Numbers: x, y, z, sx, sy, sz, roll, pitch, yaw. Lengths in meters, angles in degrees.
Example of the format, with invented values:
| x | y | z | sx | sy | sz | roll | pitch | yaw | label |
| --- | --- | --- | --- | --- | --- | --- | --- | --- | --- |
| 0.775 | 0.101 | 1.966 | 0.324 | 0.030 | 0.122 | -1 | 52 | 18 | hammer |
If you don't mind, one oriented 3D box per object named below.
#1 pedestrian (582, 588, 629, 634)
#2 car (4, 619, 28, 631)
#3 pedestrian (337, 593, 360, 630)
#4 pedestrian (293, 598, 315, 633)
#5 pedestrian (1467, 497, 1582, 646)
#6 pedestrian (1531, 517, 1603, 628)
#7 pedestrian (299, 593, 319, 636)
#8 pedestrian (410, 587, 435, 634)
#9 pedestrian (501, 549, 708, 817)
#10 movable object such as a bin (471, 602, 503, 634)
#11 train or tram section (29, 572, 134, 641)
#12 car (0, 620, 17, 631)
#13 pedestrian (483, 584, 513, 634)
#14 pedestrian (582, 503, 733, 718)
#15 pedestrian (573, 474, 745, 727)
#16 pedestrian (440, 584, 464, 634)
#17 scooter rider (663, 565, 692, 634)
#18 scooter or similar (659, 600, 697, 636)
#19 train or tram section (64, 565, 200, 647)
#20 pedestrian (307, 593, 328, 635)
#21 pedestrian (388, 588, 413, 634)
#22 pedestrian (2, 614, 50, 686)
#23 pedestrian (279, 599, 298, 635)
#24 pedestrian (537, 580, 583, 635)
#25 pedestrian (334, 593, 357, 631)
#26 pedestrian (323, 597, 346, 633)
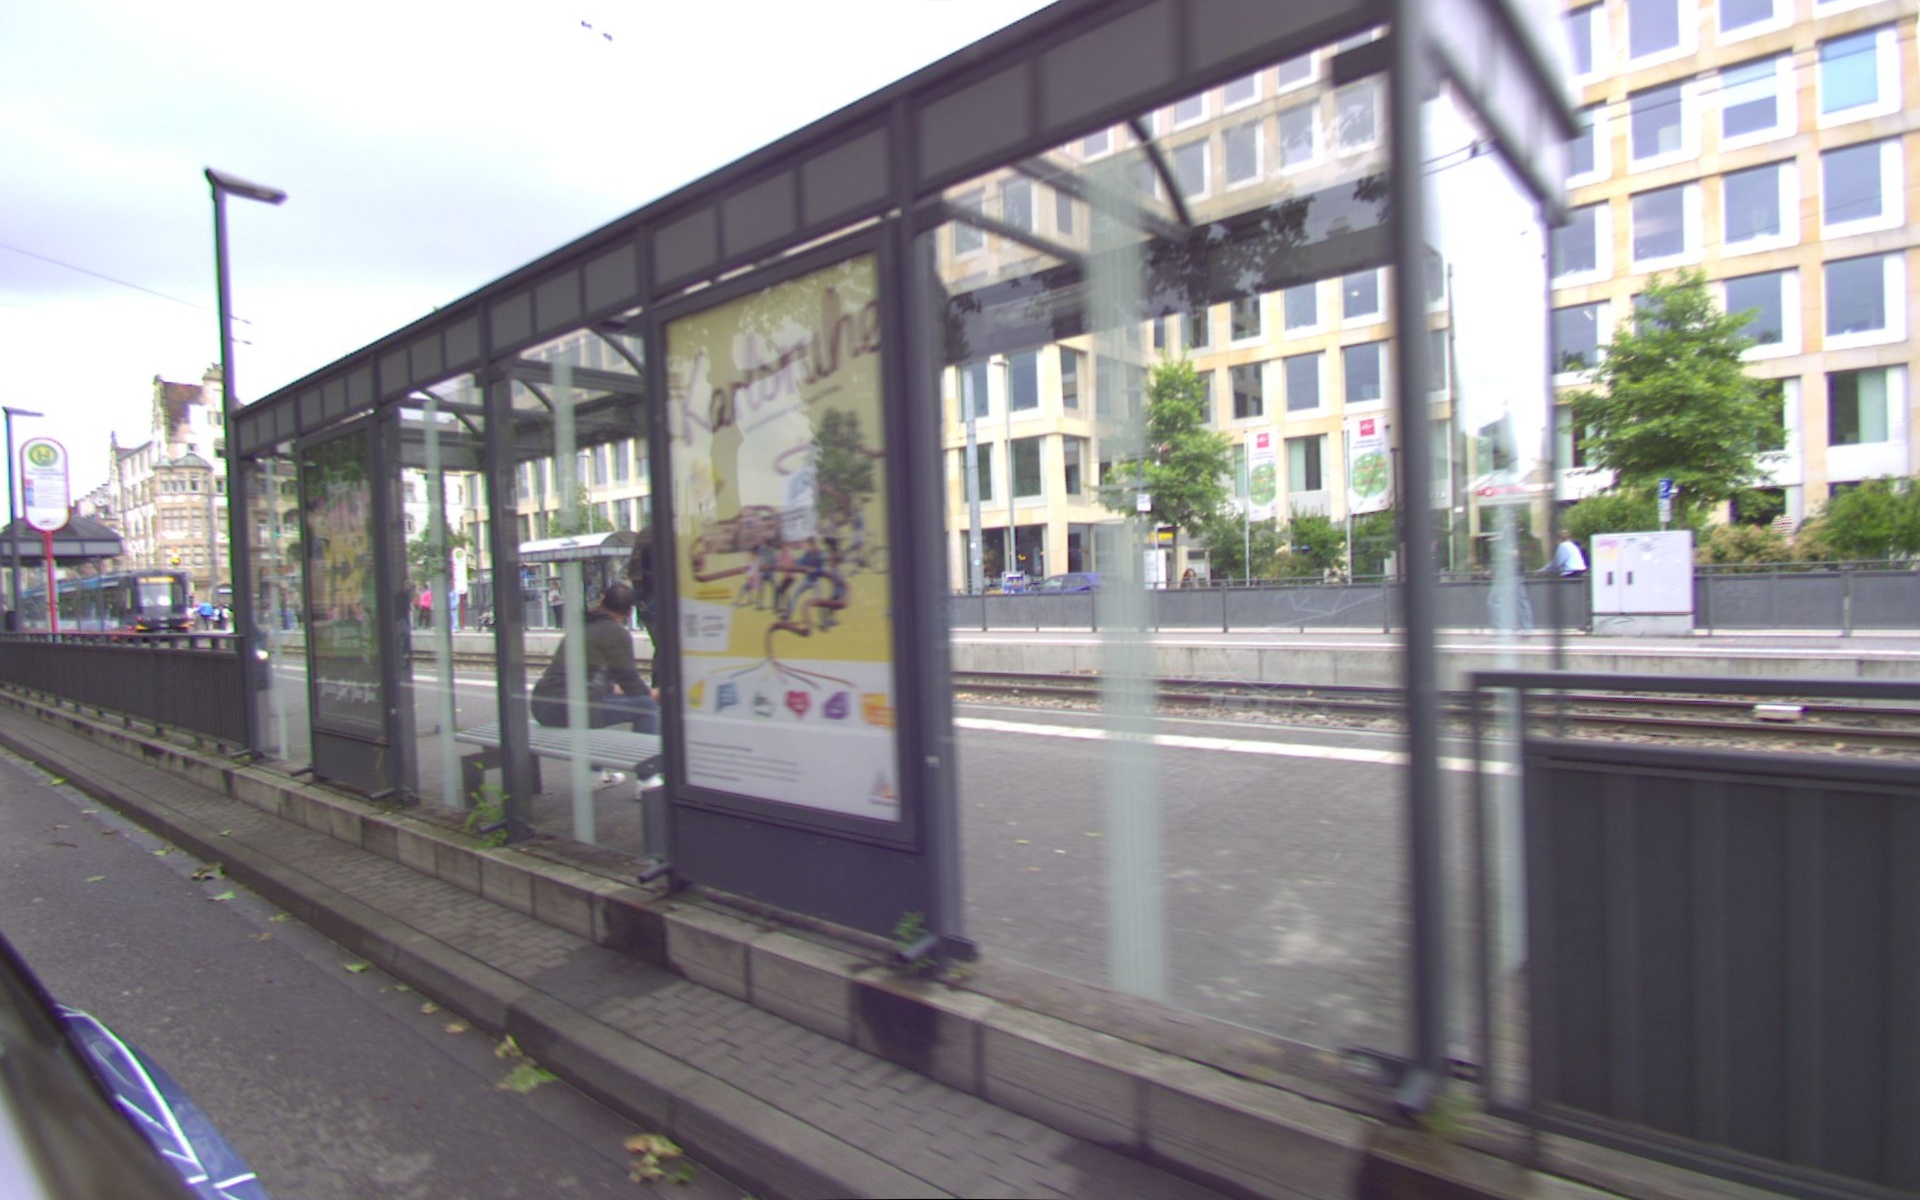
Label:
| x | y | z | sx | sy | sz | roll | pitch | yaw | label |
| --- | --- | --- | --- | --- | --- | --- | --- | --- | --- |
| -10.995 | 0.332 | 31.396 | 0.939 | 1.382 | 1.027 | 0 | 2 | 44 | pedestrian |
| -139.441 | 3.644 | 149.454 | 3.994 | 1.608 | 1.975 | -1 | 2 | 38 | car |
| -26.849 | 0.519 | 44.402 | 0.593 | 1.599 | 0.584 | -1 | 1 | 22 | pedestrian |
| -30.684 | 0.727 | 47.350 | 0.593 | 1.599 | 0.584 | -1 | 1 | 22 | pedestrian |
| 7.220 | -0.352 | 12.949 | 1.159 | 1.809 | 0.704 | -1 | 1 | 40 | pedestrian |
| 11.574 | -0.518 | 19.304 | 1.031 | 2.028 | 0.923 | -1 | 1 | 40 | pedestrian |
| -28.028 | 0.615 | 43.591 | 0.588 | 1.782 | 0.589 | -2 | 1 | -42 | pedestrian |
| -22.081 | 0.422 | 41.581 | 0.690 | 1.868 | 0.721 | -2 | 1 | -42 | pedestrian |
| -1.908 | 0.396 | 5.476 | 0.613 | 1.313 | 0.827 | -1 | 1 | 39 | pedestrian |
| -15.593 | 0.597 | 33.380 | 0.714 | 1.029 | 0.620 | -1 | 1 | 8 | movable object such as a bin |
| -51.756 | 0.352 | 59.482 | 11.691 | 3.667 | 2.826 | -1 | 2 | 40 | train or tram section |
| -144.650 | 3.823 | 153.404 | 3.994 | 1.608 | 1.975 | -1 | 2 | 38 | car |
| -15.503 | 0.294 | 33.955 | 0.649 | 1.619 | 0.578 | -1 | 1 | 8 | pedestrian |
| -2.707 | 0.085 | 9.067 | 1.108 | 1.807 | 0.666 | -1 | 1 | 28 | pedestrian |
| -2.321 | 0.001 | 7.814 | 1.109 | 1.807 | 0.665 | -1 | 1 | 33 | pedestrian |
| -16.961 | 0.295 | 33.775 | 0.529 | 1.619 | 0.566 | -2 | 1 | -42 | pedestrian |
| -6.946 | -0.010 | 24.894 | 0.553 | 1.661 | 0.399 | -1 | 1 | 39 | scooter rider |
| -6.943 | 0.444 | 24.899 | 1.003 | 0.856 | 0.383 | -1 | 1 | 40 | scooter or similar |
| -42.129 | 0.279 | 51.202 | 13.510 | 3.719 | 2.826 | -1 | 2 | 40 | train or tram section |
| -27.186 | 0.585 | 42.820 | 0.588 | 1.782 | 0.589 | -2 | 1 | -42 | pedestrian |
| -21.902 | 0.424 | 39.619 | 0.590 | 1.782 | 0.588 | -1 | 1 | 4 | pedestrian |
| -18.702 | 0.986 | 20.261 | 0.600 | 1.383 | 0.604 | -1 | 1 | 41 | pedestrian |
| -30.539 | 0.750 | 46.022 | 0.588 | 1.599 | 0.589 | -2 | 1 | -42 | pedestrian |
| -12.807 | 0.216 | 32.375 | 0.939 | 1.698 | 1.027 | -1 | 2 | 44 | pedestrian |
| -26.498 | 0.526 | 43.653 | 0.593 | 1.599 | 0.584 | -1 | 1 | 22 | pedestrian |
| -28.330 | 0.682 | 45.829 | 0.593 | 1.599 | 0.584 | -1 | 1 | 22 | pedestrian |
